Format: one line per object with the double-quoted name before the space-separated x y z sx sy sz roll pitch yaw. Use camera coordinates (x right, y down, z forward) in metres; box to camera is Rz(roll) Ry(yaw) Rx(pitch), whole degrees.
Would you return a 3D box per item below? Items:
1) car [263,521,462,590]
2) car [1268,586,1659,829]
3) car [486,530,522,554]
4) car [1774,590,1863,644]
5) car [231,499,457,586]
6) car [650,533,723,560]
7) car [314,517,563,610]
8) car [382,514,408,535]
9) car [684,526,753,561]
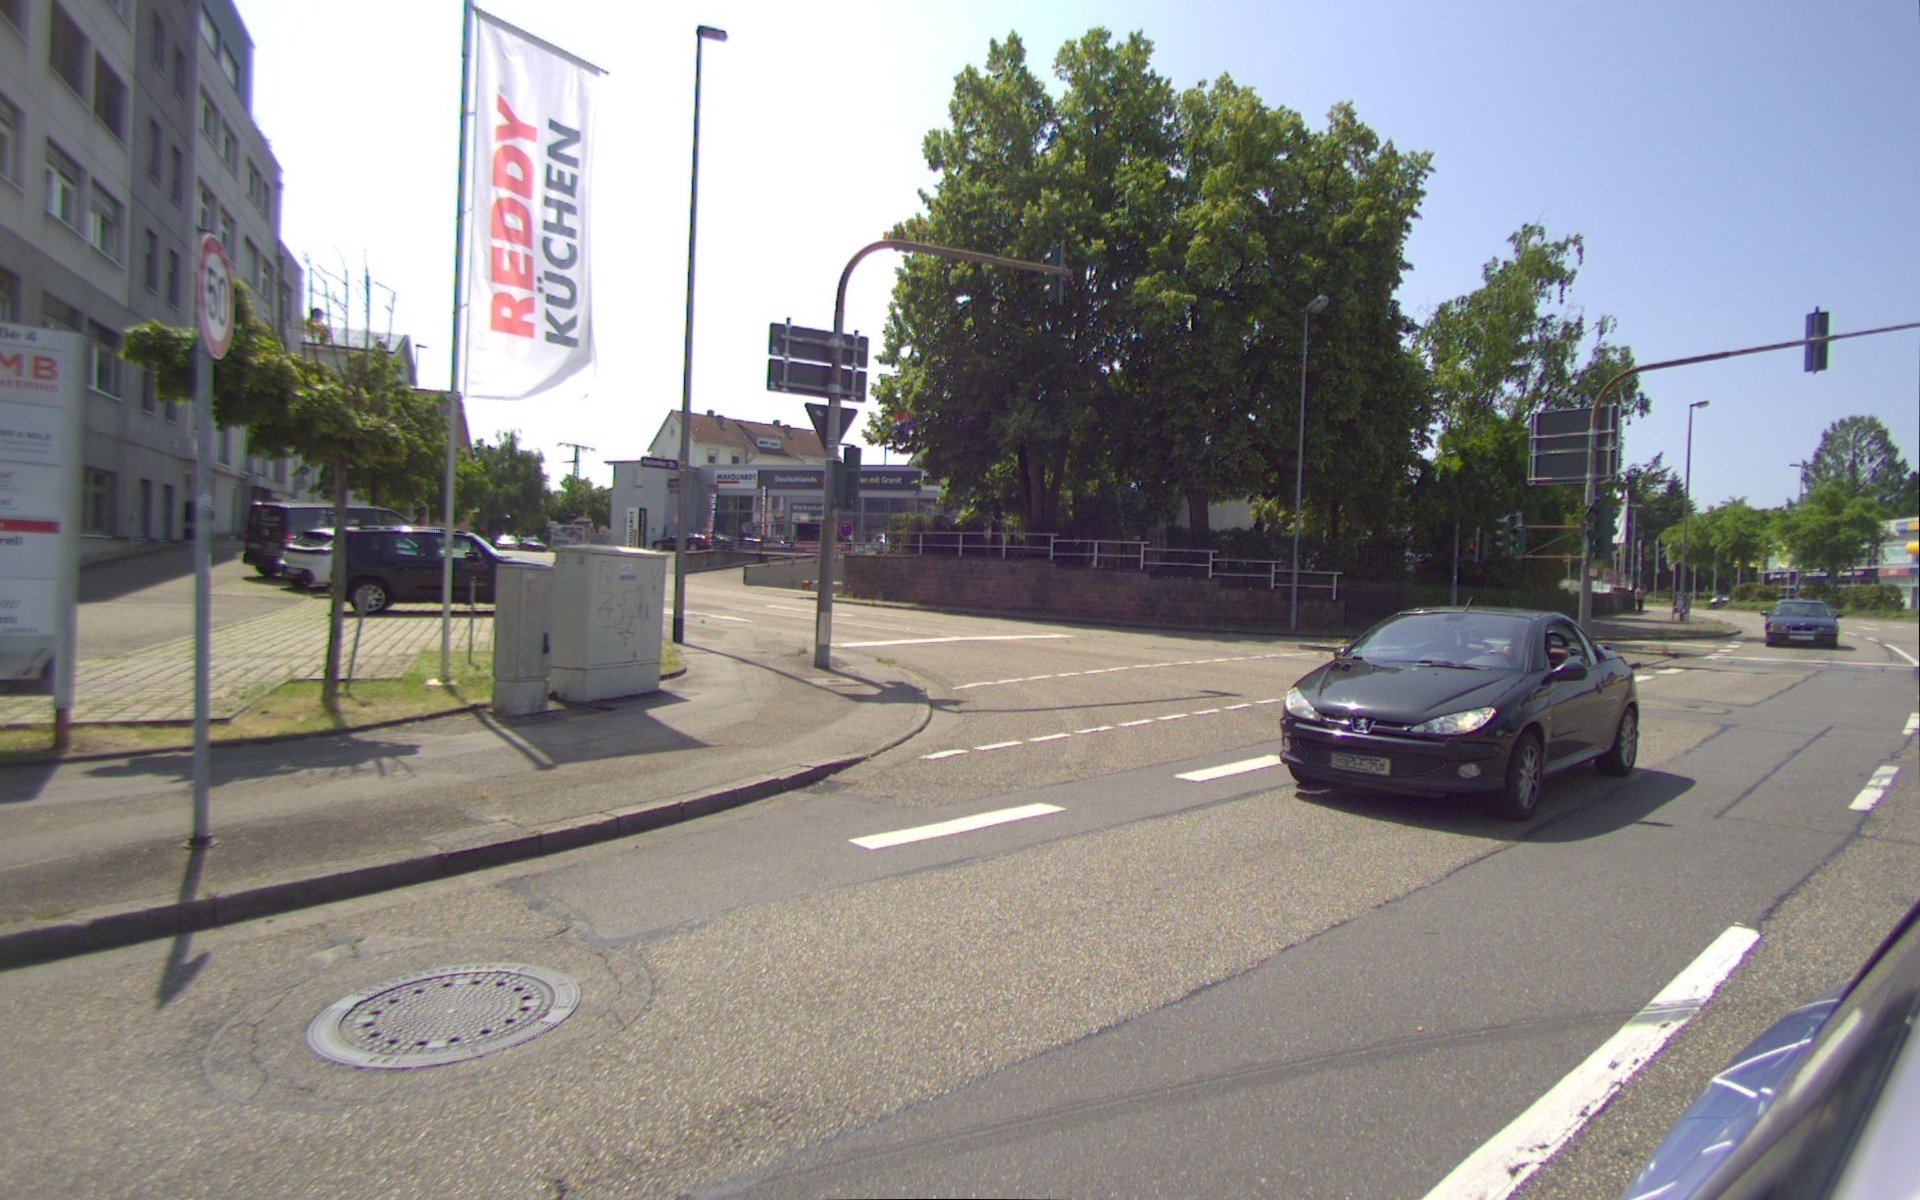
"car" -14.674 -1.173 25.126 1.525 1.550 4.198 2 4 21
"car" 4.040 0.635 7.860 3.600 1.443 1.601 0 0 -44
"car" -41.849 -5.322 92.950 1.959 2.039 4.006 0 1 -8
"car" 25.364 0.451 29.852 1.694 1.390 3.936 3 3 44
"car" -16.445 -1.431 27.372 1.869 2.063 5.154 -1 0 22
"car" -17.799 -3.465 65.842 4.118 1.474 1.991 4 2 16
"car" -10.256 -0.682 20.157 4.240 1.696 1.546 0 1 -27
"car" -47.678 -6.332 85.353 1.689 1.528 3.954 -1 1 -33
"car" -16.305 -3.812 68.381 3.944 2.038 1.991 4 2 16
